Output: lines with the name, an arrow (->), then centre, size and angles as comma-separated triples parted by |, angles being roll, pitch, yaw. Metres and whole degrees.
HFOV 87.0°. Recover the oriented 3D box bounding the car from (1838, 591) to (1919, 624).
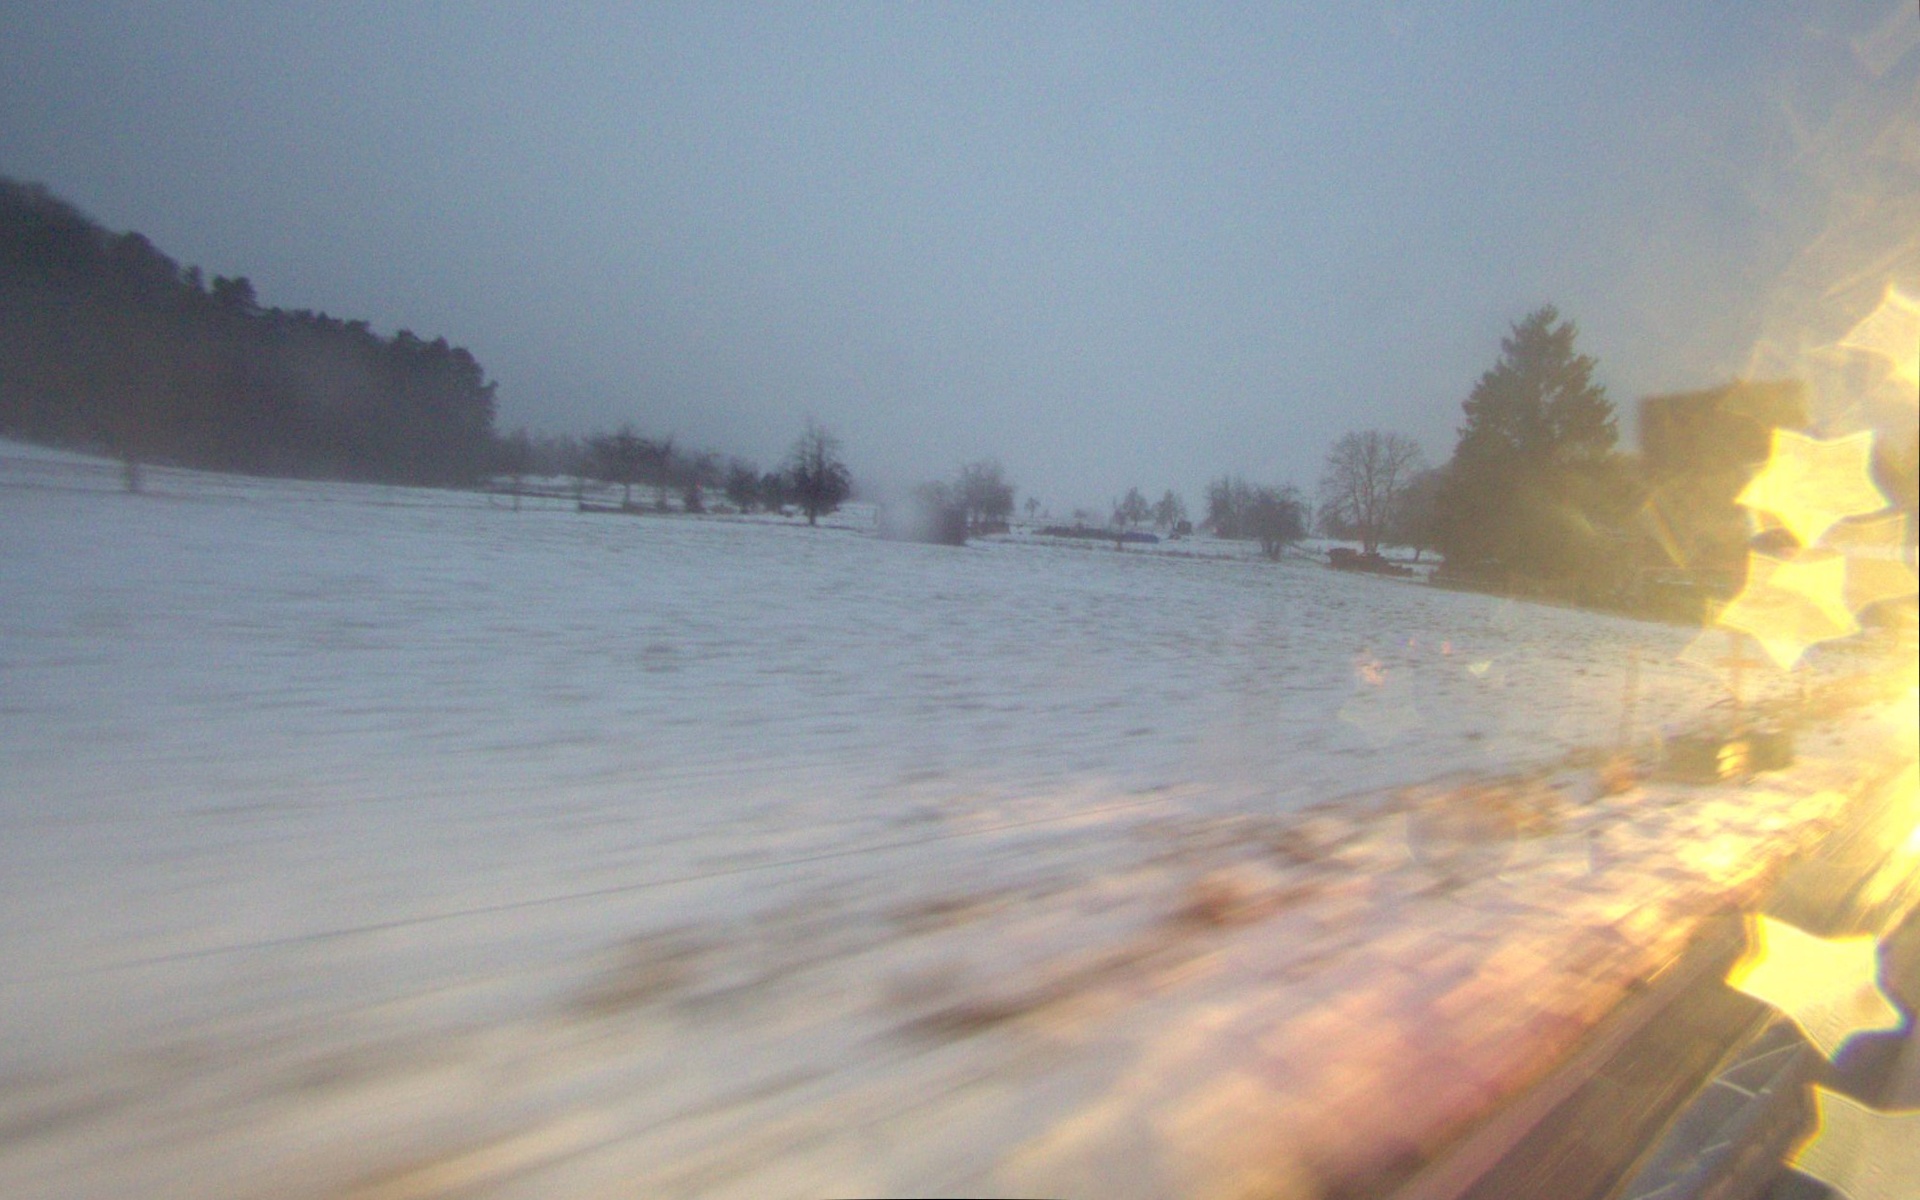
car -> 54.367, 0.446, 58.973 | 1.825, 1.677, 4.416 | 2, 2, -32
